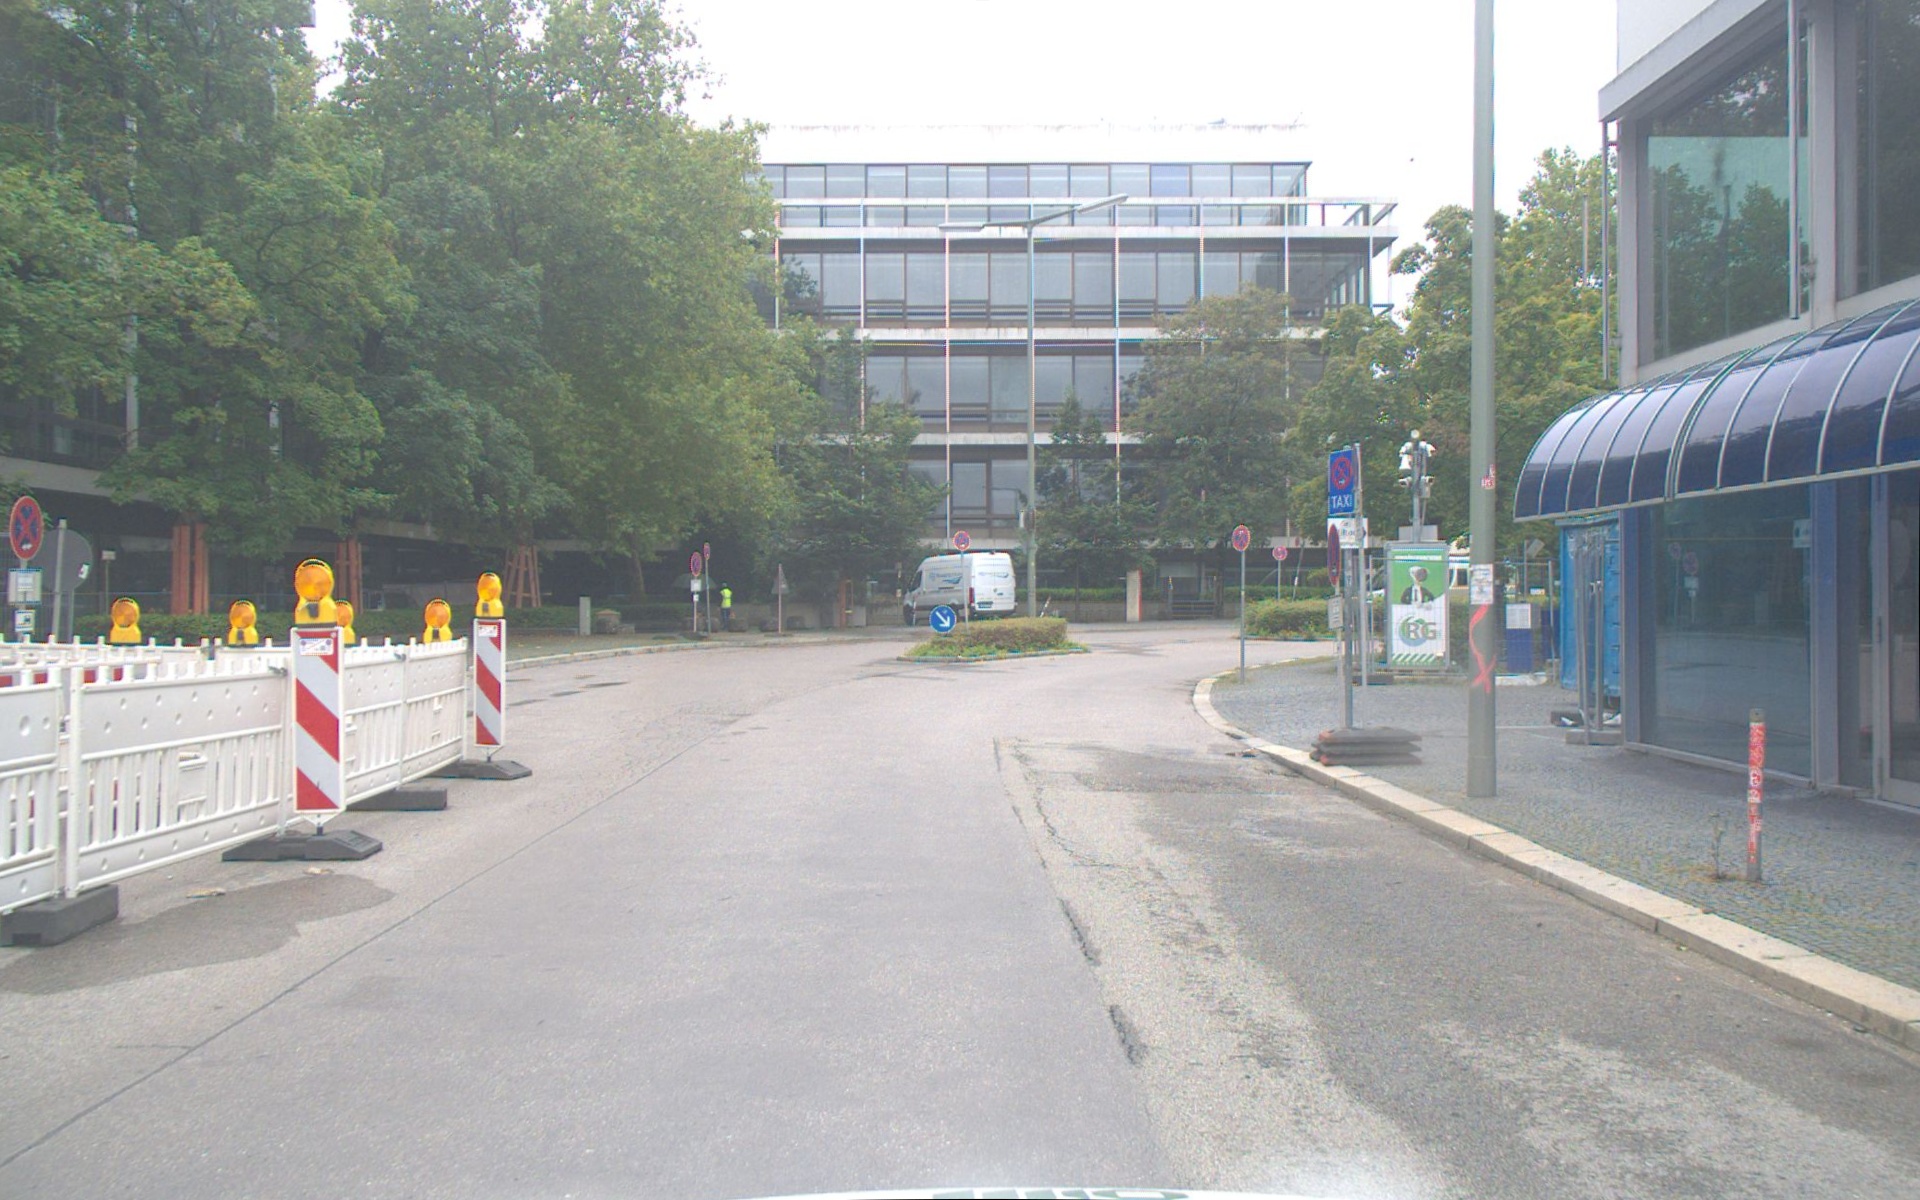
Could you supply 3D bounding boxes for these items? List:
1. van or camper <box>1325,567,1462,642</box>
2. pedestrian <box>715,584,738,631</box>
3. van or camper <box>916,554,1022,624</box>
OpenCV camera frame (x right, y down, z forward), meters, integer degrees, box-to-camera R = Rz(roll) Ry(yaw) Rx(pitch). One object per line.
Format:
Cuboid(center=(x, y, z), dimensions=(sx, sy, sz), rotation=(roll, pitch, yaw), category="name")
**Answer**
Cuboid(center=(15.755, 0.143, 60.186), dimensions=(4.370, 2.631, 2.103), rotation=(0, 0, -11), category="van or camper")
Cuboid(center=(-8.670, 0.269, 61.429), dimensions=(0.730, 1.706, 0.678), rotation=(0, 0, -20), category="pedestrian")
Cuboid(center=(0.272, -0.405, 62.828), dimensions=(2.059, 2.535, 5.025), rotation=(0, 0, -26), category="van or camper")
